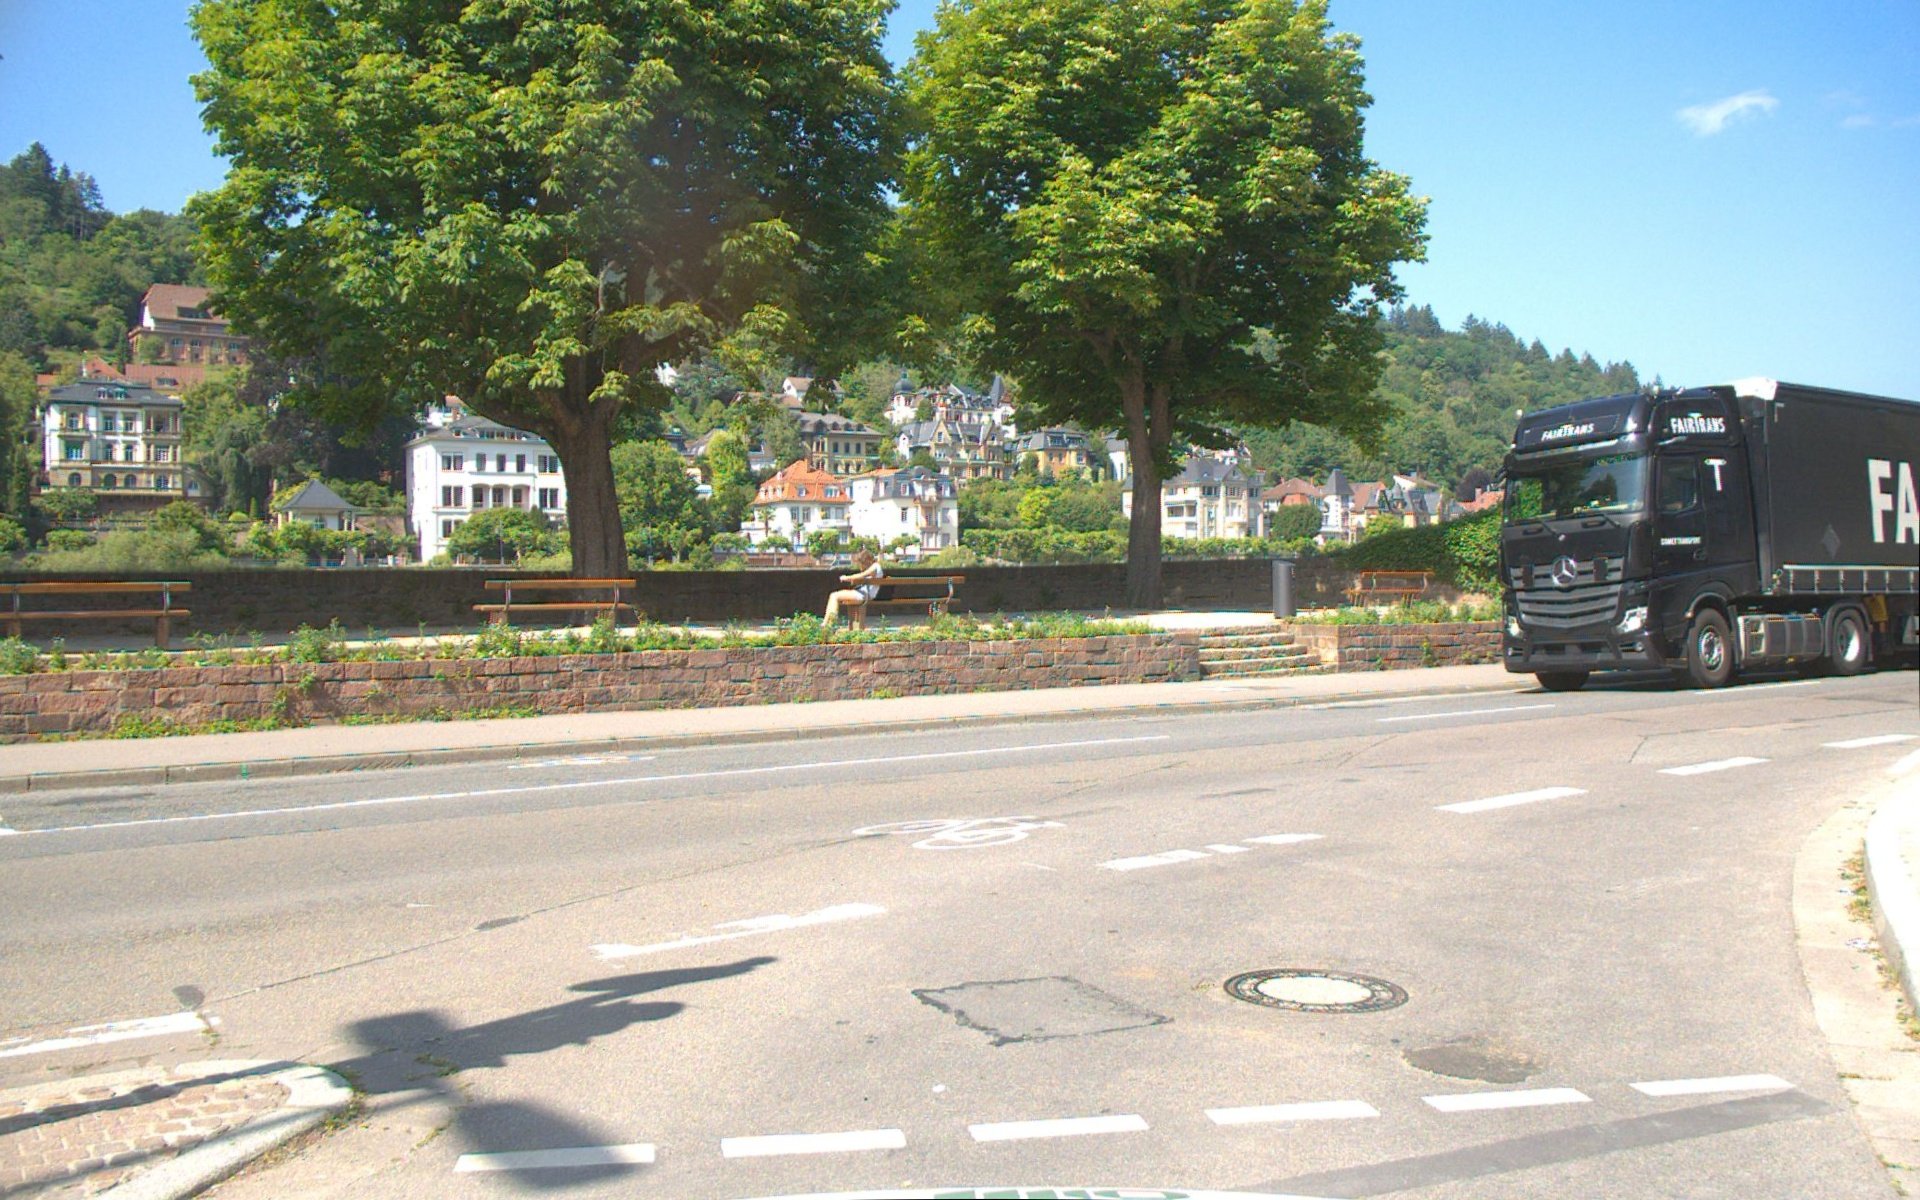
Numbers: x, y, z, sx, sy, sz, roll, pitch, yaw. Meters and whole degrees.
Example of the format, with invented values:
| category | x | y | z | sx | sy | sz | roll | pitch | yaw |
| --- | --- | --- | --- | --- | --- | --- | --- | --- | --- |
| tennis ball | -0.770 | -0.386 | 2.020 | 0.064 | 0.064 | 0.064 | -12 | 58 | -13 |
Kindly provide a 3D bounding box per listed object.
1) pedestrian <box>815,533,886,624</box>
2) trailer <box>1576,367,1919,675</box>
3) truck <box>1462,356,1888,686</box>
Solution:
| category | x | y | z | sx | sy | sz | roll | pitch | yaw |
| --- | --- | --- | --- | --- | --- | --- | --- | --- | --- |
| pedestrian | -1.576 | -0.300 | 23.765 | 0.789 | 1.232 | 0.708 | 1 | -4 | -31 |
| trailer | 15.611 | -1.168 | 27.404 | 13.612 | 4.176 | 2.807 | -2 | -1 | -35 |
| truck | 10.259 | -1.006 | 23.603 | 5.863 | 4.142 | 2.805 | -1 | -1 | -35 |
